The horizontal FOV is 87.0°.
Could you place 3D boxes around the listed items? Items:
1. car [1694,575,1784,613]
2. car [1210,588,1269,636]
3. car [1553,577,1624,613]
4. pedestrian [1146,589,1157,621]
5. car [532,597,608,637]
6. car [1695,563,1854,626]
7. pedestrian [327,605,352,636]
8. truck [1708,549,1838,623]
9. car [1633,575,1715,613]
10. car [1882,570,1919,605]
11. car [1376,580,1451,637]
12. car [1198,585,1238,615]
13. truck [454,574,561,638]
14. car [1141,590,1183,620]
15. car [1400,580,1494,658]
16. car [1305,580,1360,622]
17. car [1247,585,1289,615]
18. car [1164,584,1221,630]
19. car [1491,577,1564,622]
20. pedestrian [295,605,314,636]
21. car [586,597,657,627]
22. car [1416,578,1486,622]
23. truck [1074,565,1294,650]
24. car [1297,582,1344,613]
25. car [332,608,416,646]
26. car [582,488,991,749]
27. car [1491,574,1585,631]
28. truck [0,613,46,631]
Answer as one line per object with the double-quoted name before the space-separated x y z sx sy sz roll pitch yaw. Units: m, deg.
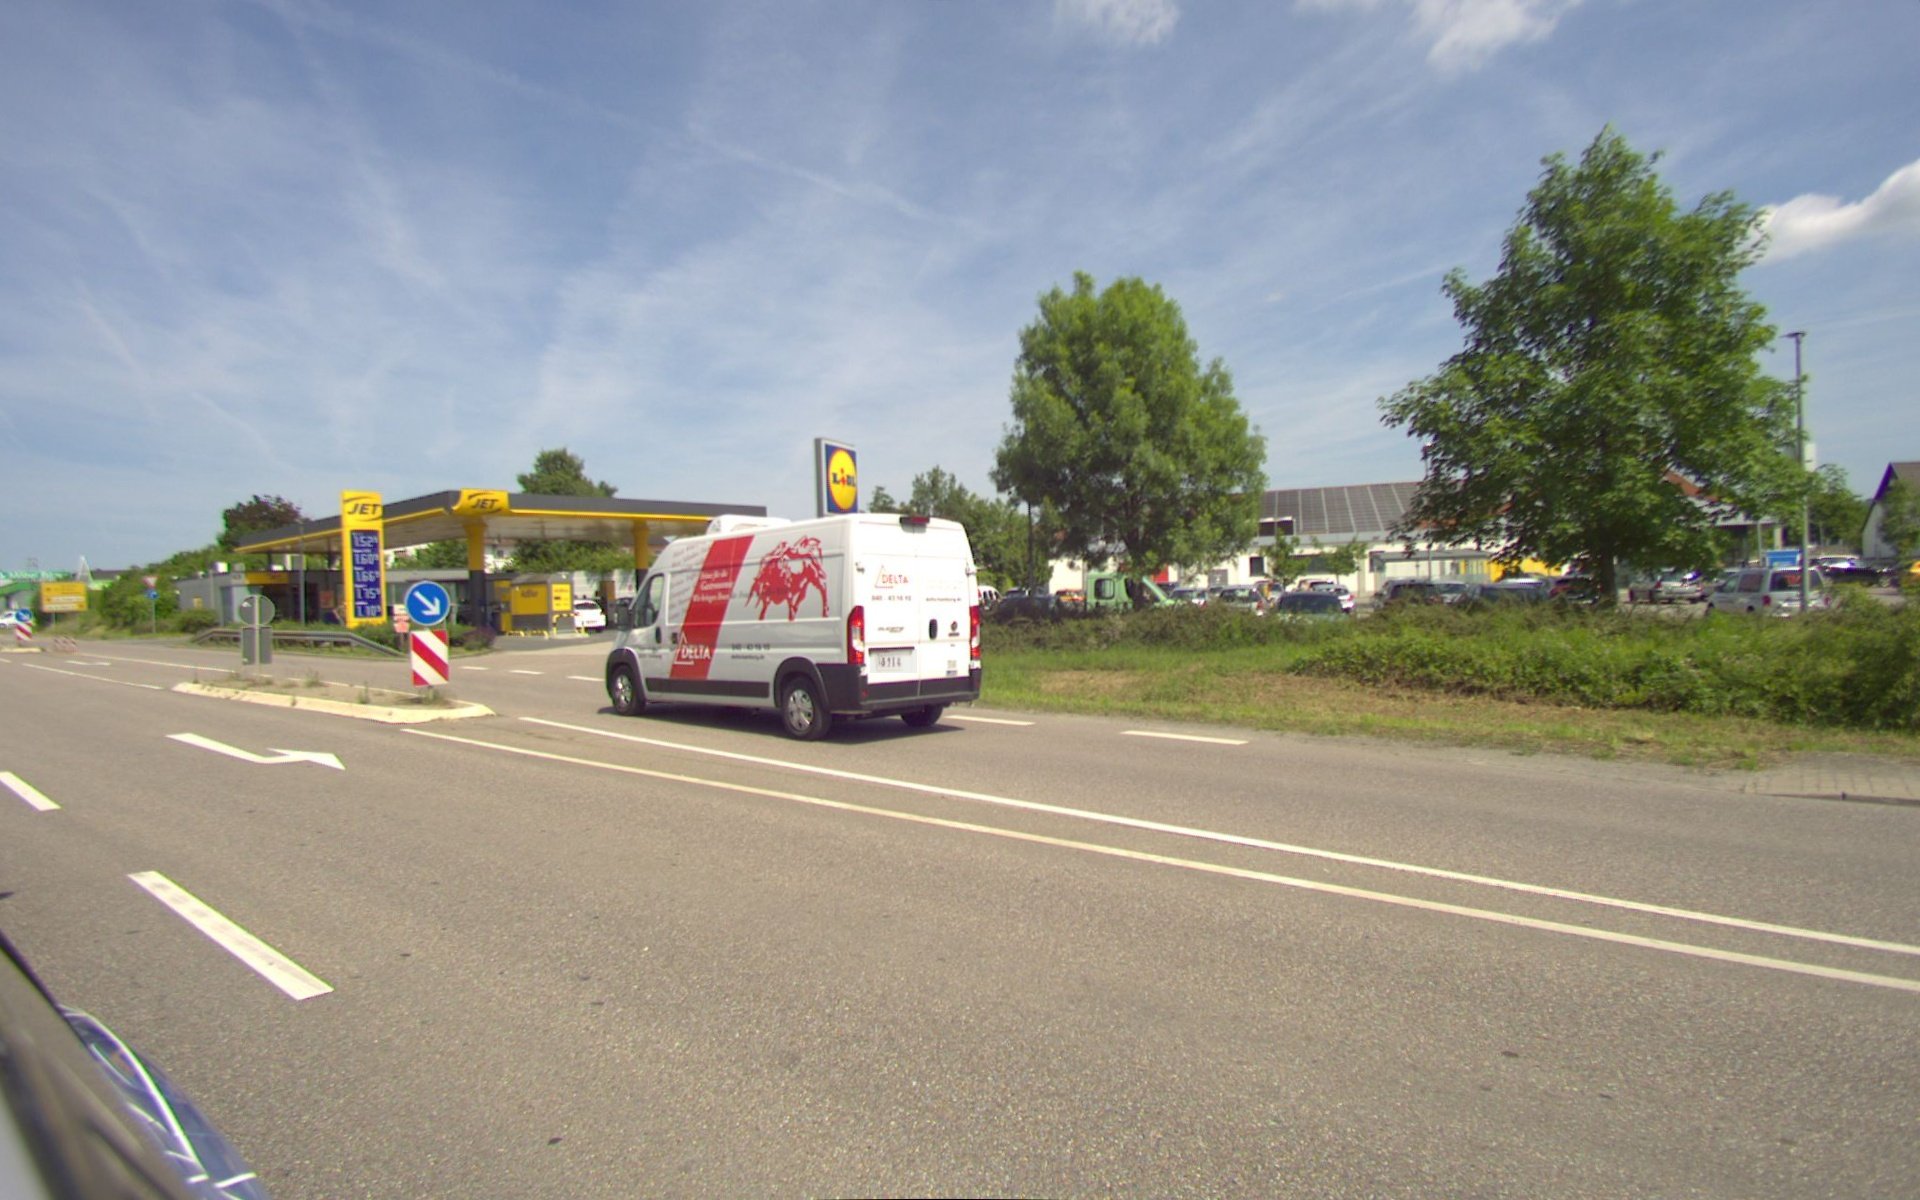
"car" 33.912 -0.263 44.206 1.865 1.553 4.231 0 0 20
"car" 9.880 0.377 35.586 1.769 1.513 4.122 -1 1 18
"car" 28.463 -0.218 45.982 1.865 1.553 4.231 0 0 20
"pedestrian" 9.477 0.244 50.072 0.501 1.564 0.514 -1 0 16
"car" -17.769 0.792 46.064 4.001 1.741 1.713 -2 -3 44
"car" 24.215 -0.147 30.316 1.981 1.708 4.408 -1 0 14
"pedestrian" -28.796 0.953 46.990 0.494 1.438 0.902 -1 0 44
"truck" 27.869 -0.446 34.877 1.981 2.383 3.982 0 0 14
"car" 31.497 -0.260 44.750 1.865 1.553 4.231 0 0 20
"car" 45.120 -0.578 46.078 4.223 1.553 1.869 0 0 18
"car" 14.662 0.221 32.926 1.898 1.687 3.974 -1 1 20
"car" 13.309 -0.008 52.219 1.868 1.453 3.981 -1 1 15
"truck" -22.111 0.277 49.303 6.278 2.944 2.222 0 0 40
"car" 10.464 0.247 52.278 1.868 1.453 3.981 -1 1 15
"car" 11.419 0.410 23.932 1.683 1.670 3.971 0 0 22
"car" 14.270 0.039 38.925 1.764 1.540 3.977 0 0 17
"car" 15.546 -0.035 51.251 1.868 1.453 3.981 -1 1 15
"car" 9.334 0.250 40.469 1.850 1.688 4.399 -1 0 17
"car" 20.582 -0.013 36.846 1.767 1.540 3.972 0 0 21
"pedestrian" -38.993 1.222 60.192 0.639 1.852 0.788 -2 0 41
"car" -19.327 0.695 57.754 3.862 1.625 1.735 -1 -1 31
"car" 18.327 0.005 37.920 1.764 1.540 3.977 0 0 17
"truck" 6.753 0.253 30.936 6.287 2.393 2.240 -1 -1 13
"car" 17.952 -0.150 50.556 1.868 1.453 3.981 -1 1 15
"car" -27.728 1.264 47.816 4.258 1.719 1.975 -2 -1 38
"car" -2.529 0.234 13.229 5.987 2.674 2.094 -2 -1 44
"car" 18.207 0.067 32.045 1.912 1.701 3.973 0 0 20
"truck" -112.630 2.653 120.966 1.999 2.024 4.710 -1 1 41
